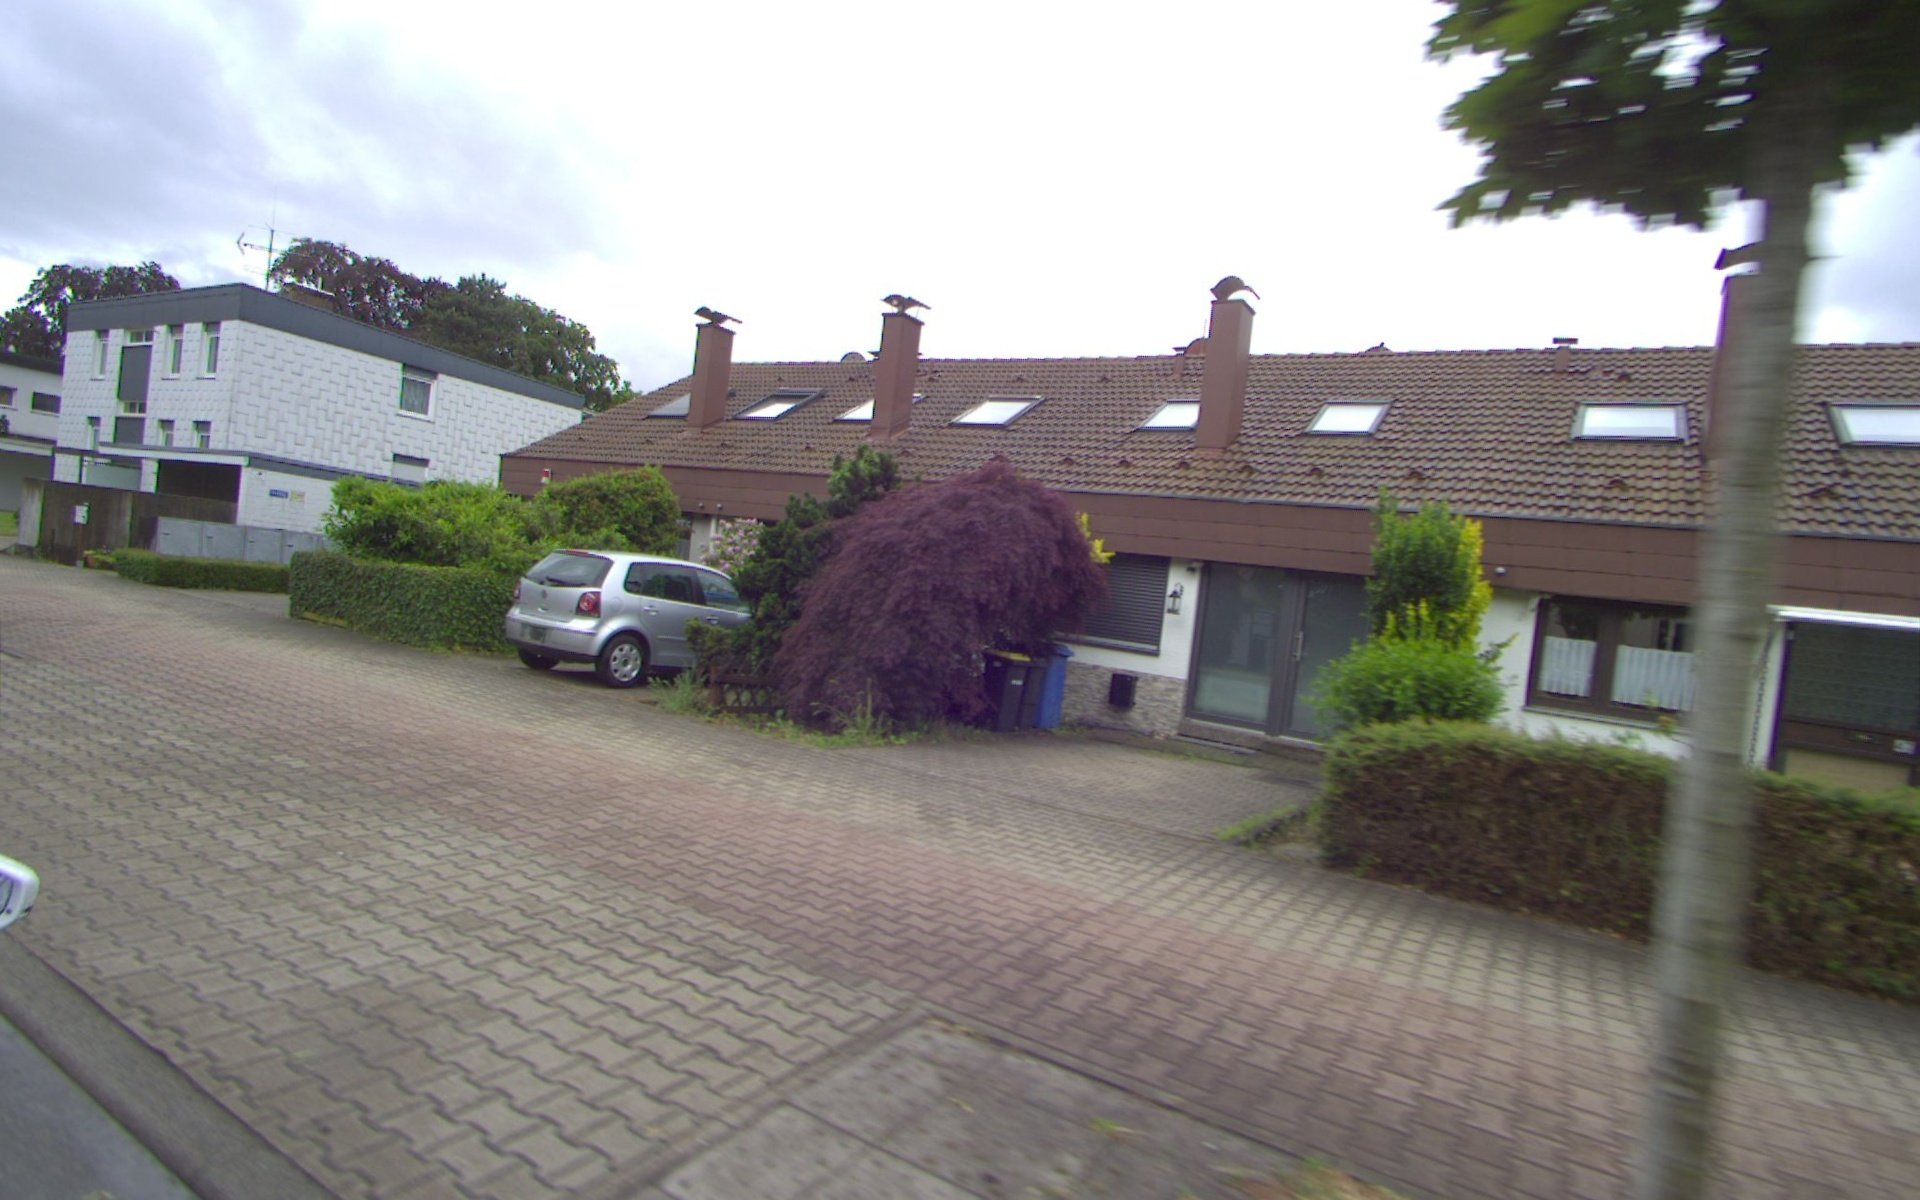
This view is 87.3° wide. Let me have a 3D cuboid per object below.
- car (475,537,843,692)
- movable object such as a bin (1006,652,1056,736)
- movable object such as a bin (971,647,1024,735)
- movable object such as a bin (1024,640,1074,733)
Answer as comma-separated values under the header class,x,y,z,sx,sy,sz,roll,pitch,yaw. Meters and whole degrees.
class,x,y,z,sx,sy,sz,roll,pitch,yaw
car,-3.472,0.247,12.309,1.817,1.460,3.990,6,0,33
movable object such as a bin,0.848,1.112,12.001,0.352,0.945,0.377,8,2,36
movable object such as a bin,0.431,1.043,11.585,0.352,0.945,0.377,8,2,36
movable object such as a bin,1.103,1.076,12.507,0.352,1.102,0.377,8,2,36
